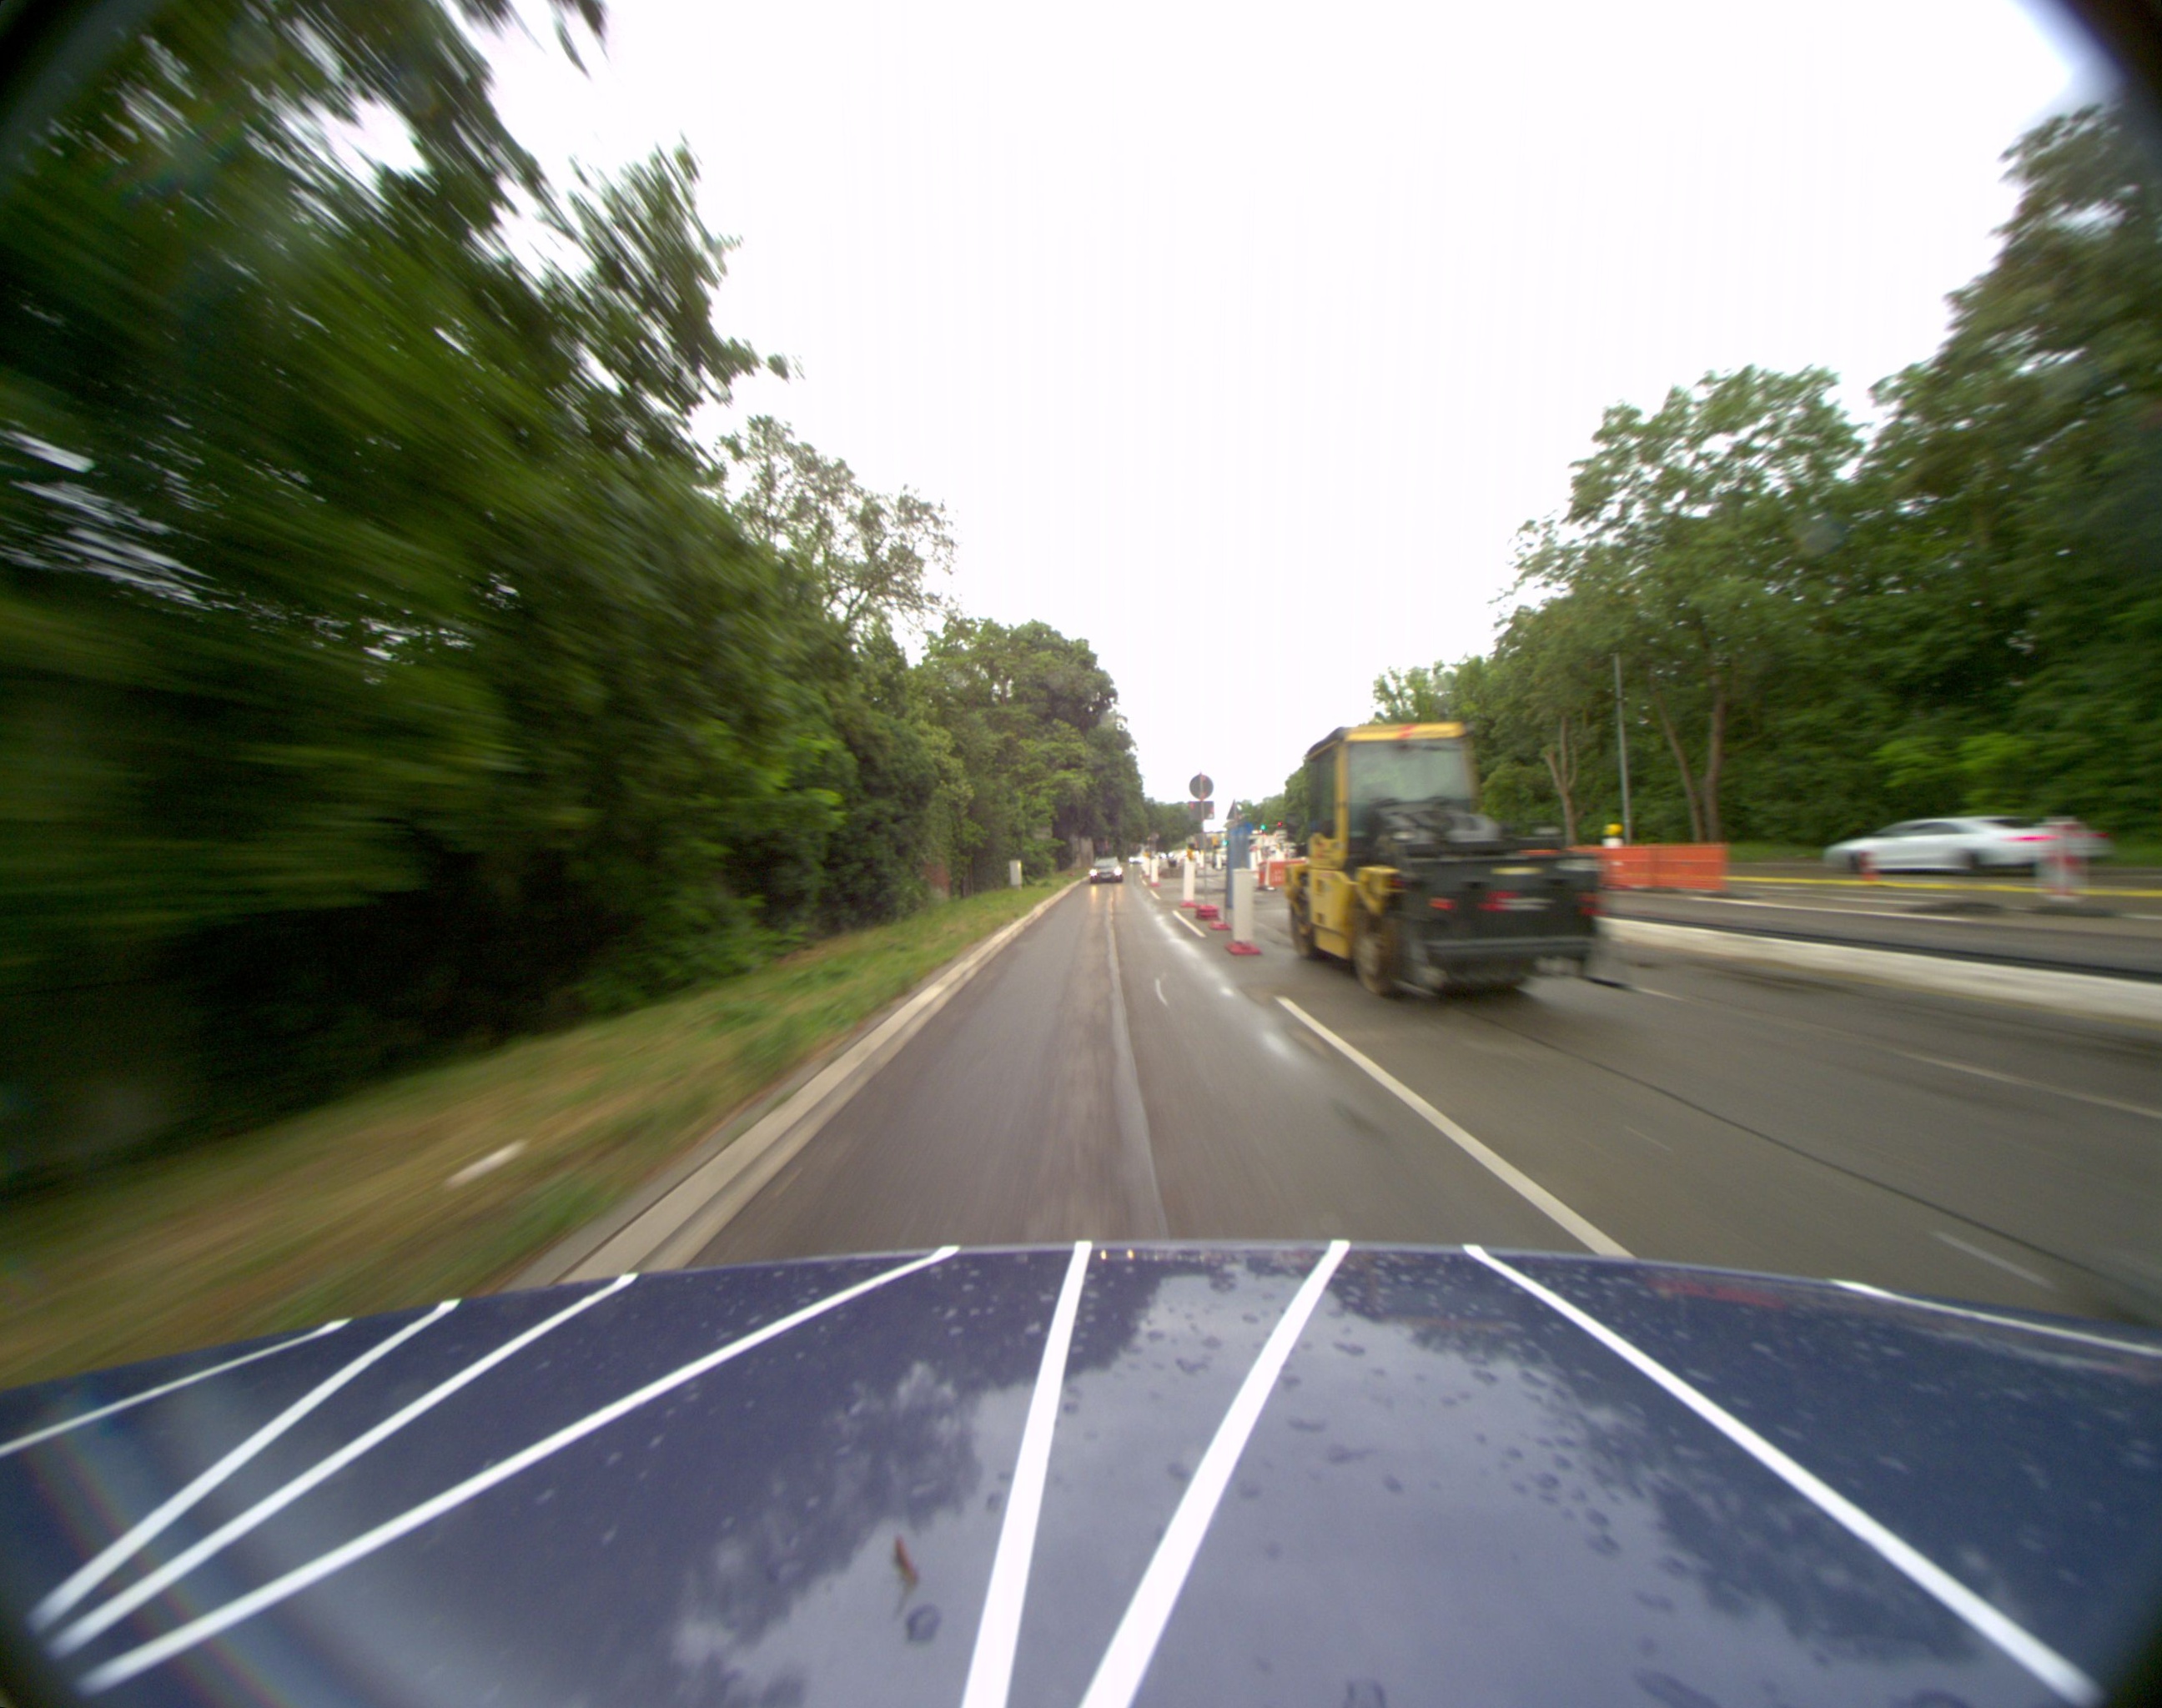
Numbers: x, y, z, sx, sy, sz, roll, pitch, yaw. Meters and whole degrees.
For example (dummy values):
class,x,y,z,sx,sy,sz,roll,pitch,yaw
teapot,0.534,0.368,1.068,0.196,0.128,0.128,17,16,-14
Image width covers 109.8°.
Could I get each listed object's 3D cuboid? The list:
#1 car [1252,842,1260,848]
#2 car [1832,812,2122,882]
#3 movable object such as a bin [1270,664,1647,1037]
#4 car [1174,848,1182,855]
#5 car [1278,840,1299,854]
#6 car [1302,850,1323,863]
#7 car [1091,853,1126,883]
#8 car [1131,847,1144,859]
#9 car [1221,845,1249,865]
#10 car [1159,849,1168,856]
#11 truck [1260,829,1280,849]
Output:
class,x,y,z,sx,sy,sz,roll,pitch,yaw
car,41.412,-2.160,179.852,1.864,1.487,4.181,-2,0,12
car,21.324,-0.152,18.447,1.788,1.418,4.469,-3,0,1
movable object such as a bin,3.747,-0.035,8.846,1.808,2.968,5.245,-3,0,2
car,21.418,-0.650,167.341,1.710,1.434,4.233,-2,1,8
car,24.925,-0.826,91.475,1.678,1.604,3.770,-2,0,4
car,27.575,0.249,90.589,1.624,1.475,3.608,-2,0,4
car,1.611,0.772,43.058,1.701,1.477,4.001,-2,1,5
car,8.335,-0.169,111.983,1.707,1.681,4.473,-2,1,5
car,13.013,0.073,64.387,1.793,1.575,3.862,-4,0,5
car,19.489,-0.401,179.193,1.710,1.434,4.233,-2,1,9
truck,39.866,-3.165,160.586,3.149,3.809,9.651,-2,1,9
